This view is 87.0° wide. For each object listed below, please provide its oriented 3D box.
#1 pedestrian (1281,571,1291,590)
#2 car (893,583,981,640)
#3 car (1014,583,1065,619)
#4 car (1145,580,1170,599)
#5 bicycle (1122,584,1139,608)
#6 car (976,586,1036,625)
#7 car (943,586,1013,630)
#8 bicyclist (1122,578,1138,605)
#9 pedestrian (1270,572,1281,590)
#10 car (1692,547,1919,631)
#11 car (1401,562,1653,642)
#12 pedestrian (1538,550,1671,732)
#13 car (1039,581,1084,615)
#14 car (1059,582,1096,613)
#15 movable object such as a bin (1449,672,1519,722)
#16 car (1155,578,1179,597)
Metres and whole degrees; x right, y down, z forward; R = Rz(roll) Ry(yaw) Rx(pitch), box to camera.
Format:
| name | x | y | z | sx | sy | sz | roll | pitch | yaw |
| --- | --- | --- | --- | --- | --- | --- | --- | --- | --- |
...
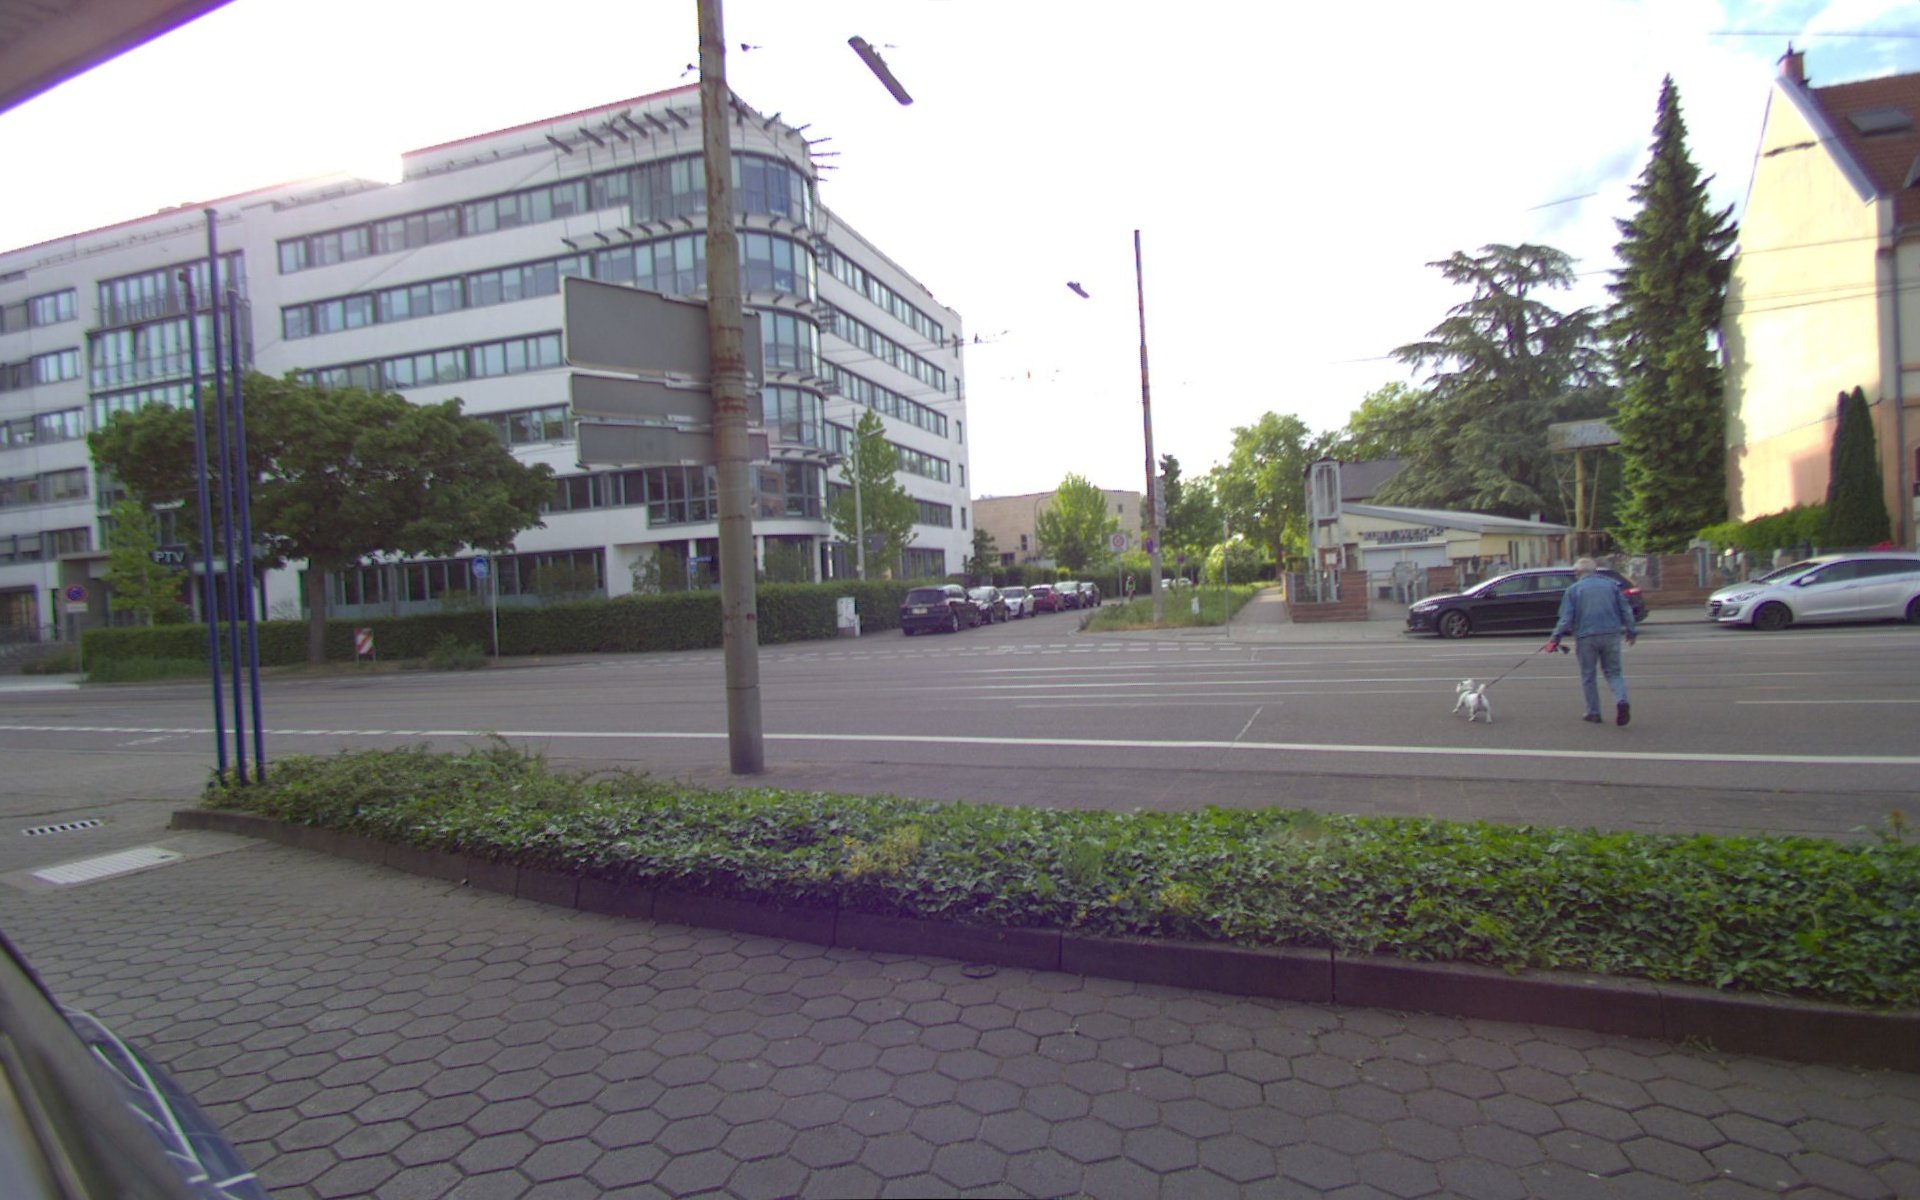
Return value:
| name | x | y | z | sx | sy | sz | roll | pitch | yaw |
| --- | --- | --- | --- | --- | --- | --- | --- | --- | --- |
| pedestrian | 33.566 | -2.004 | 104.208 | 0.899 | 1.865 | 0.942 | -3 | -1 | 21 |
| car | -0.726 | 0.359 | 35.406 | 1.994 | 1.704 | 4.274 | -3 | 1 | 13 |
| car | 4.175 | 0.022 | 52.483 | 1.929 | 1.650 | 4.274 | -3 | 0 | 13 |
| car | 19.700 | -1.085 | 100.782 | 1.849 | 1.748 | 4.247 | -3 | 1 | 19 |
| bicycle | 10.598 | -0.255 | 62.960 | 0.858 | 1.320 | 1.911 | -3 | 3 | 14 |
| car | 2.142 | 0.213 | 45.777 | 1.929 | 1.530 | 4.274 | -3 | 0 | 13 |
| car | 0.793 | 0.290 | 40.966 | 1.929 | 1.551 | 4.274 | -3 | 0 | 13 |
| bicyclist | 10.556 | -0.527 | 62.865 | 0.858 | 1.617 | 1.024 | -3 | 3 | 14 |
| pedestrian | 32.573 | -1.943 | 104.434 | 0.899 | 1.865 | 0.942 | -3 | -1 | 21 |
| car | 18.421 | -0.245 | 21.372 | 4.424 | 1.494 | 1.713 | -3 | 1 | 21 |
| car | 12.910 | 0.054 | 23.433 | 4.742 | 1.511 | 2.001 | -3 | 1 | 21 |
| pedestrian | 6.404 | 0.381 | 10.121 | 0.999 | 1.680 | 0.962 | -2 | 3 | 29 |
| car | 5.835 | -0.151 | 57.712 | 1.929 | 1.748 | 4.512 | -3 | 0 | 13 |
| car | 7.289 | -0.161 | 62.486 | 1.731 | 1.748 | 4.030 | -3 | 0 | 13 |
| movable object such as a bin | 5.580 | 1.033 | 10.806 | 0.476 | 0.424 | 0.678 | -3 | 3 | 11 |
| car | 21.692 | -1.335 | 106.151 | 1.849 | 1.748 | 4.246 | -3 | 1 | 19 |
